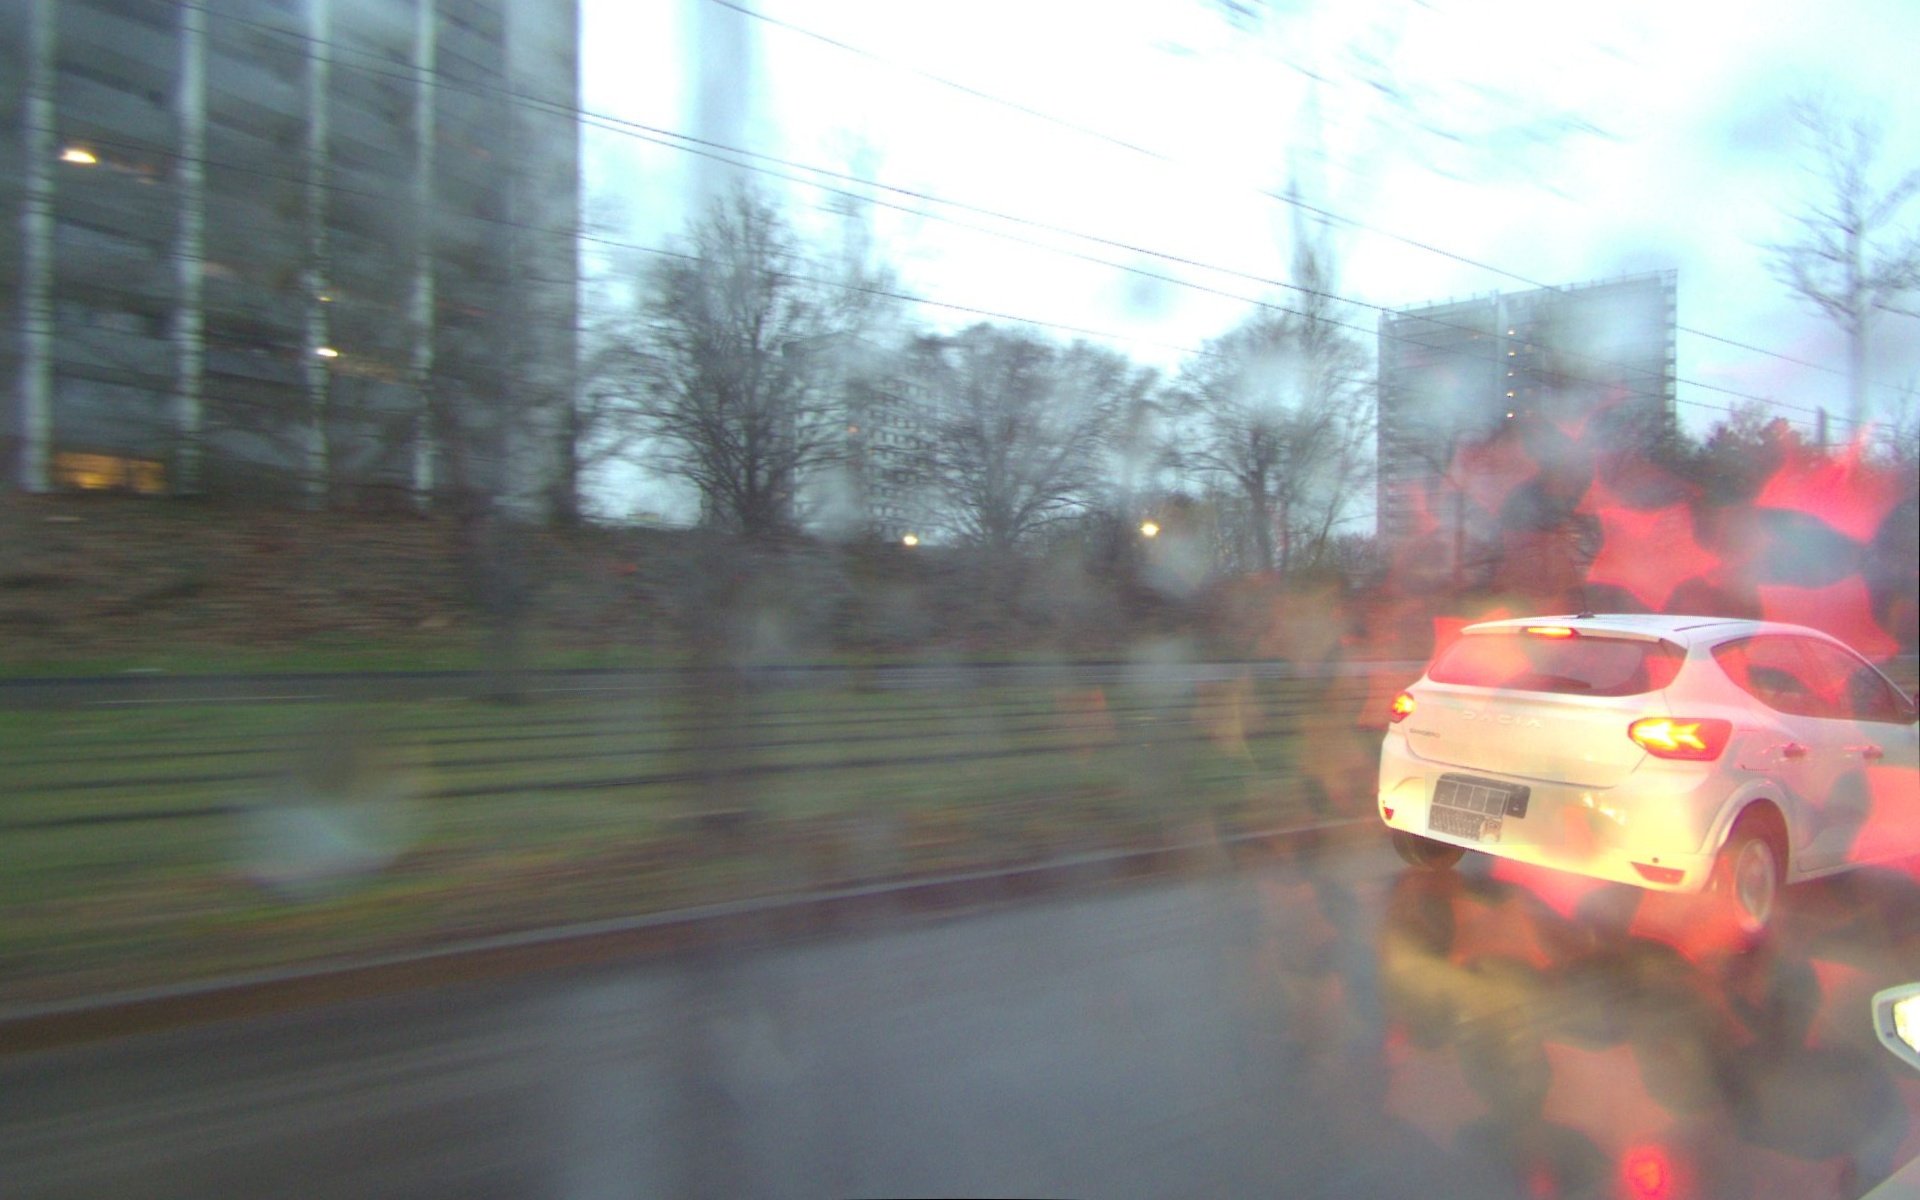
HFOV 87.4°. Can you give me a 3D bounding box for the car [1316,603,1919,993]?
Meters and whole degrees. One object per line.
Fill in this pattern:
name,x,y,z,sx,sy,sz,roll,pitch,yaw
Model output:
car,4.132,0.828,5.734,4.084,1.545,1.701,1,-1,-29
